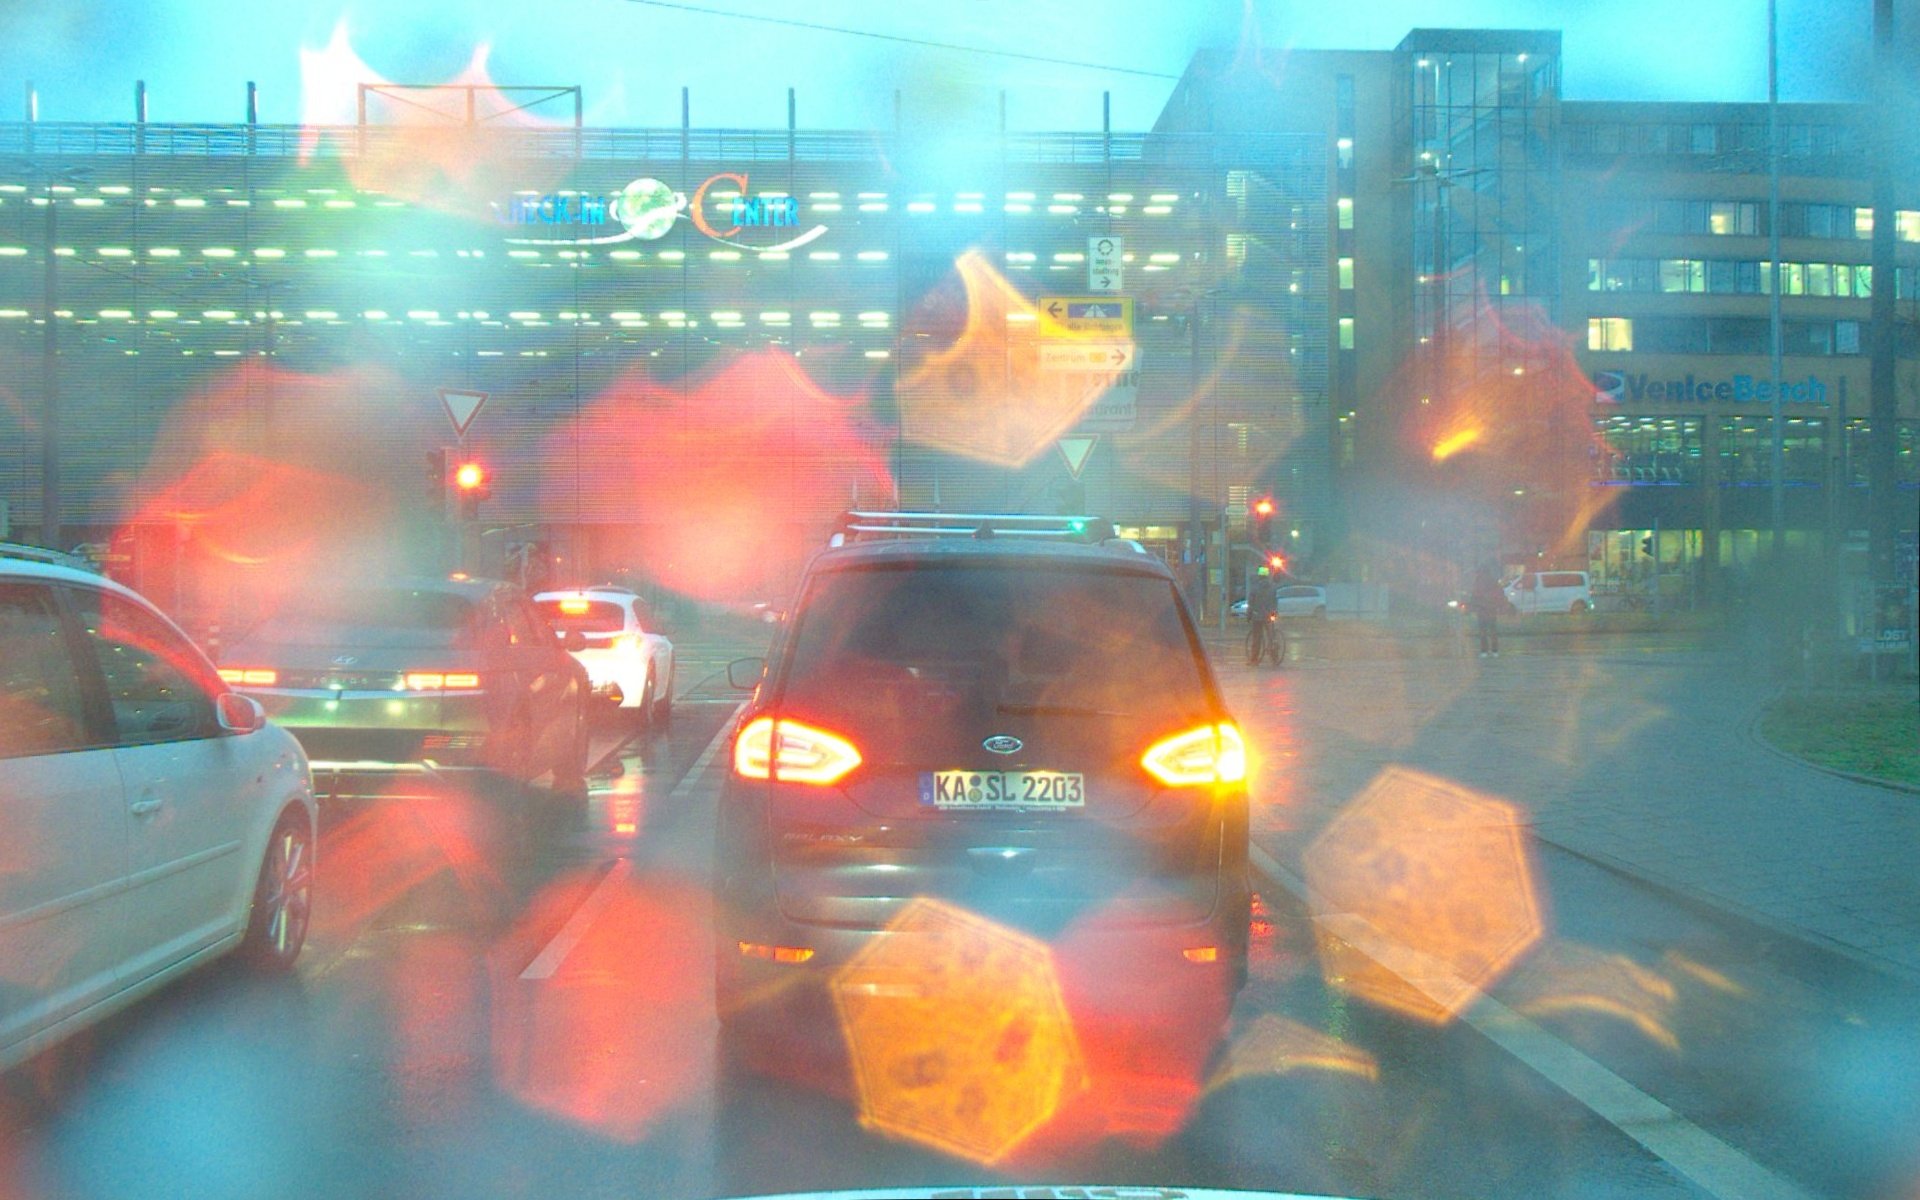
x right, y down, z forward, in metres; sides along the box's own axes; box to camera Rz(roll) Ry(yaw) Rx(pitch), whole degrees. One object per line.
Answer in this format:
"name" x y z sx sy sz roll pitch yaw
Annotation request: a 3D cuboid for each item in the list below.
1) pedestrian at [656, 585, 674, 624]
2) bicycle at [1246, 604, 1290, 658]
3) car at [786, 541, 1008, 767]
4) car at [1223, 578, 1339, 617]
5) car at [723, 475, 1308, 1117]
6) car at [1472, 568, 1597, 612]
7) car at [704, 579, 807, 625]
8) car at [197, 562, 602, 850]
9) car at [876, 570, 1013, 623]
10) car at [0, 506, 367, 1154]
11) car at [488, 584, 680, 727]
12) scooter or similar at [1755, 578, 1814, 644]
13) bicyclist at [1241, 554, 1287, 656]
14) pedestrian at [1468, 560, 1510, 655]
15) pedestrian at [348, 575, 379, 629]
"pedestrian" -13.759 0.221 77.119 0.772 1.818 0.732 0 0 -6
"bicycle" 5.925 0.581 31.899 0.641 0.990 1.867 0 0 5
"car" -0.706 0.414 15.761 1.808 1.837 4.482 0 1 -5
"car" 12.924 -0.116 66.671 4.245 1.512 1.863 -1 0 -7
"car" 0.123 0.556 6.754 1.640 1.810 3.999 1 0 -1
"car" 23.546 -0.412 67.850 4.553 1.706 1.782 -1 0 -10
"car" -8.668 0.077 70.270 4.276 1.904 1.902 -1 0 -7
"car" -3.627 0.576 11.527 1.786 1.597 4.355 0 0 -7
"car" -0.607 -0.149 62.872 4.874 1.904 1.894 -1 0 -20
"car" -3.291 0.576 5.073 1.638 1.627 4.220 0 0 -4
"car" -4.263 0.564 19.281 1.724 1.489 3.912 0 0 -6
"scooter or similar" 15.436 0.198 30.970 1.290 1.227 0.331 0 0 -30
"bicyclist" 5.850 0.092 31.837 0.774 1.923 0.990 0 0 5
"pedestrian" 10.734 0.143 33.540 0.757 1.910 0.635 0 0 22
"pedestrian" -28.036 0.103 77.750 1.087 2.482 0.966 1 -1 -2
